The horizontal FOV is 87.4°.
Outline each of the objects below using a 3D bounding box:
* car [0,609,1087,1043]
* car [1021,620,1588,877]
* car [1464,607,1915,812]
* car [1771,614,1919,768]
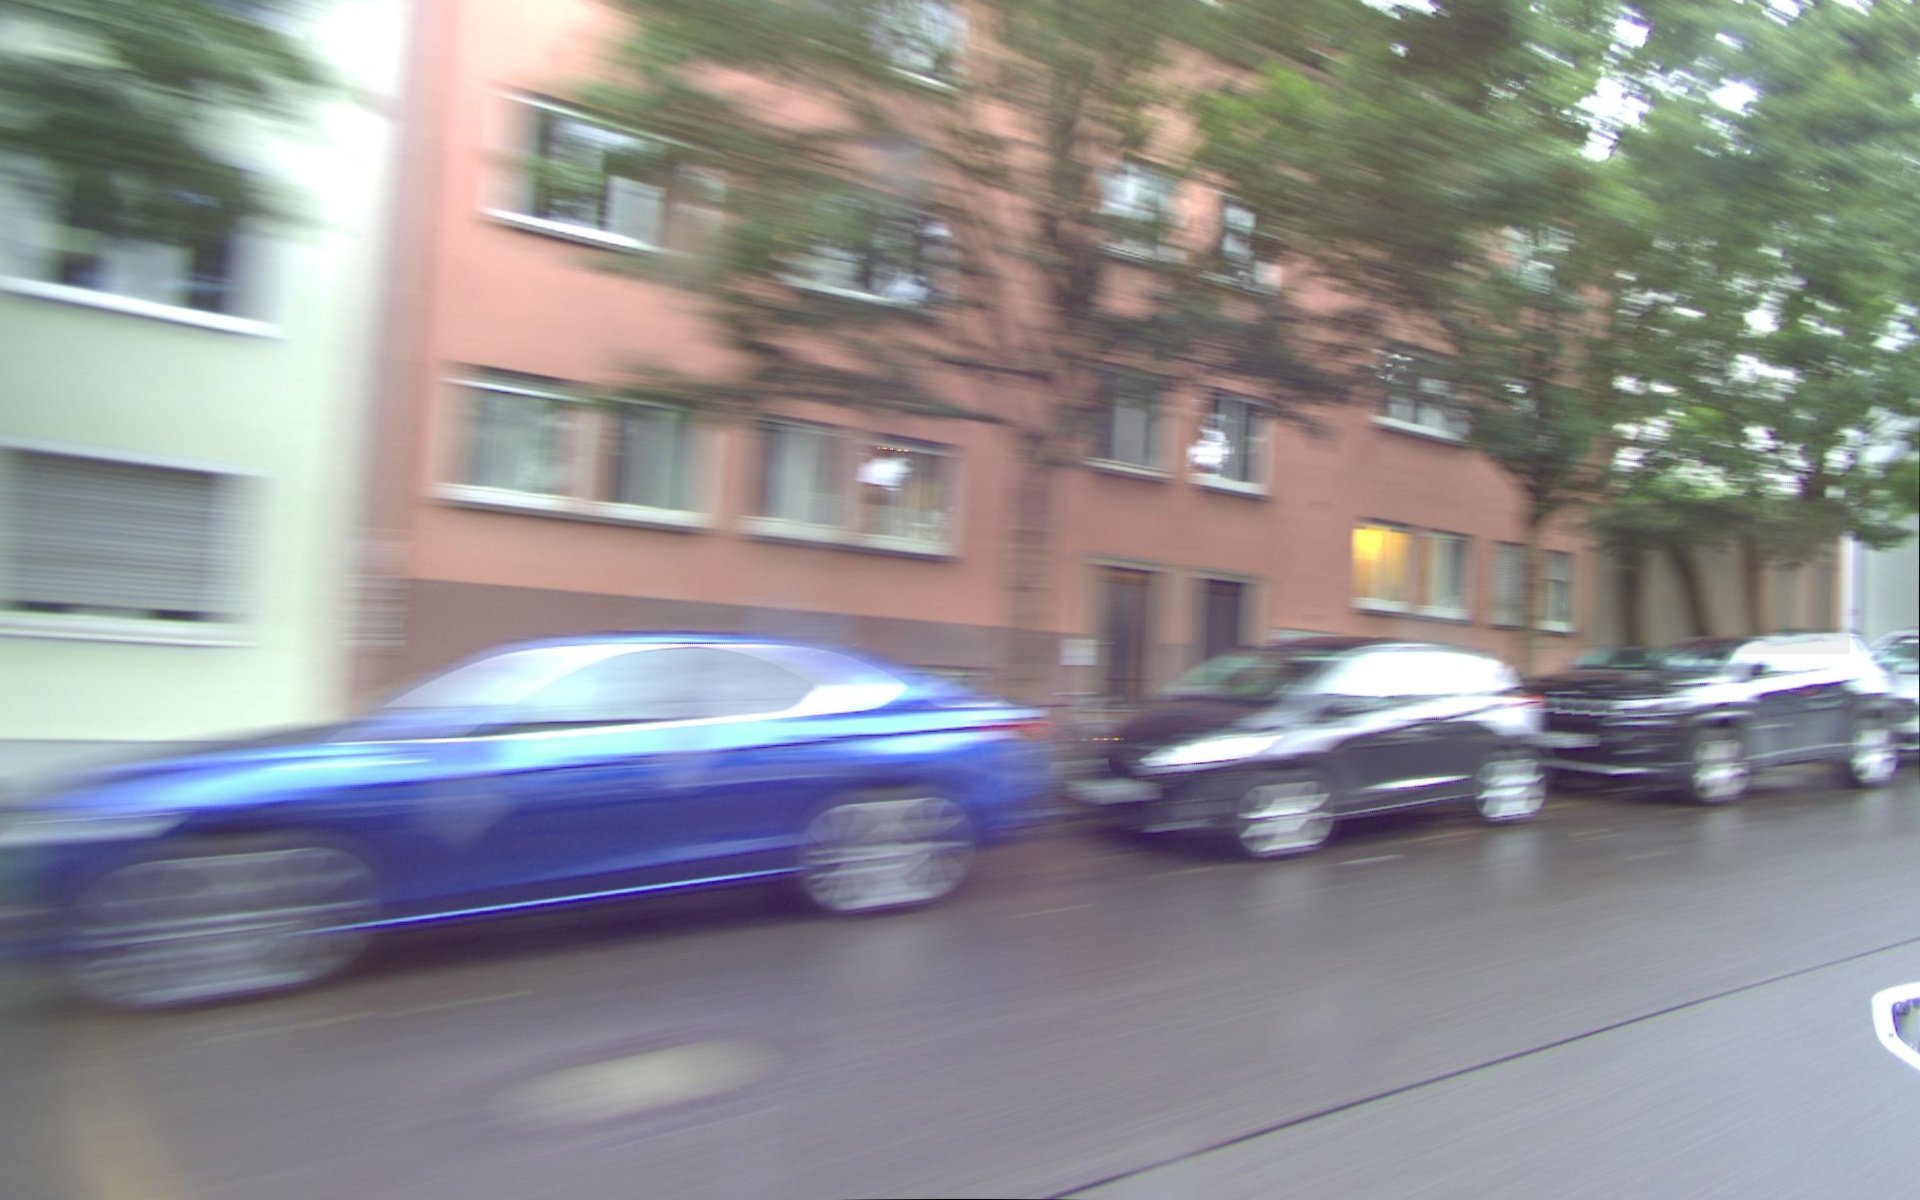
[{"bbox_3d":[-1.812,0.858,5.321,4.799,1.513,1.781,1,-2,-27],"label":"car"},{"bbox_3d":[2.752,0.950,7.801,4.309,1.513,1.779,1,-2,-30],"label":"car"},{"bbox_3d":[7.281,0.962,9.979,4.421,1.663,1.781,1,-2,-26],"label":"car"},{"bbox_3d":[12.610,1.070,12.579,4.530,1.712,1.745,1,-2,-20],"label":"car"}]
